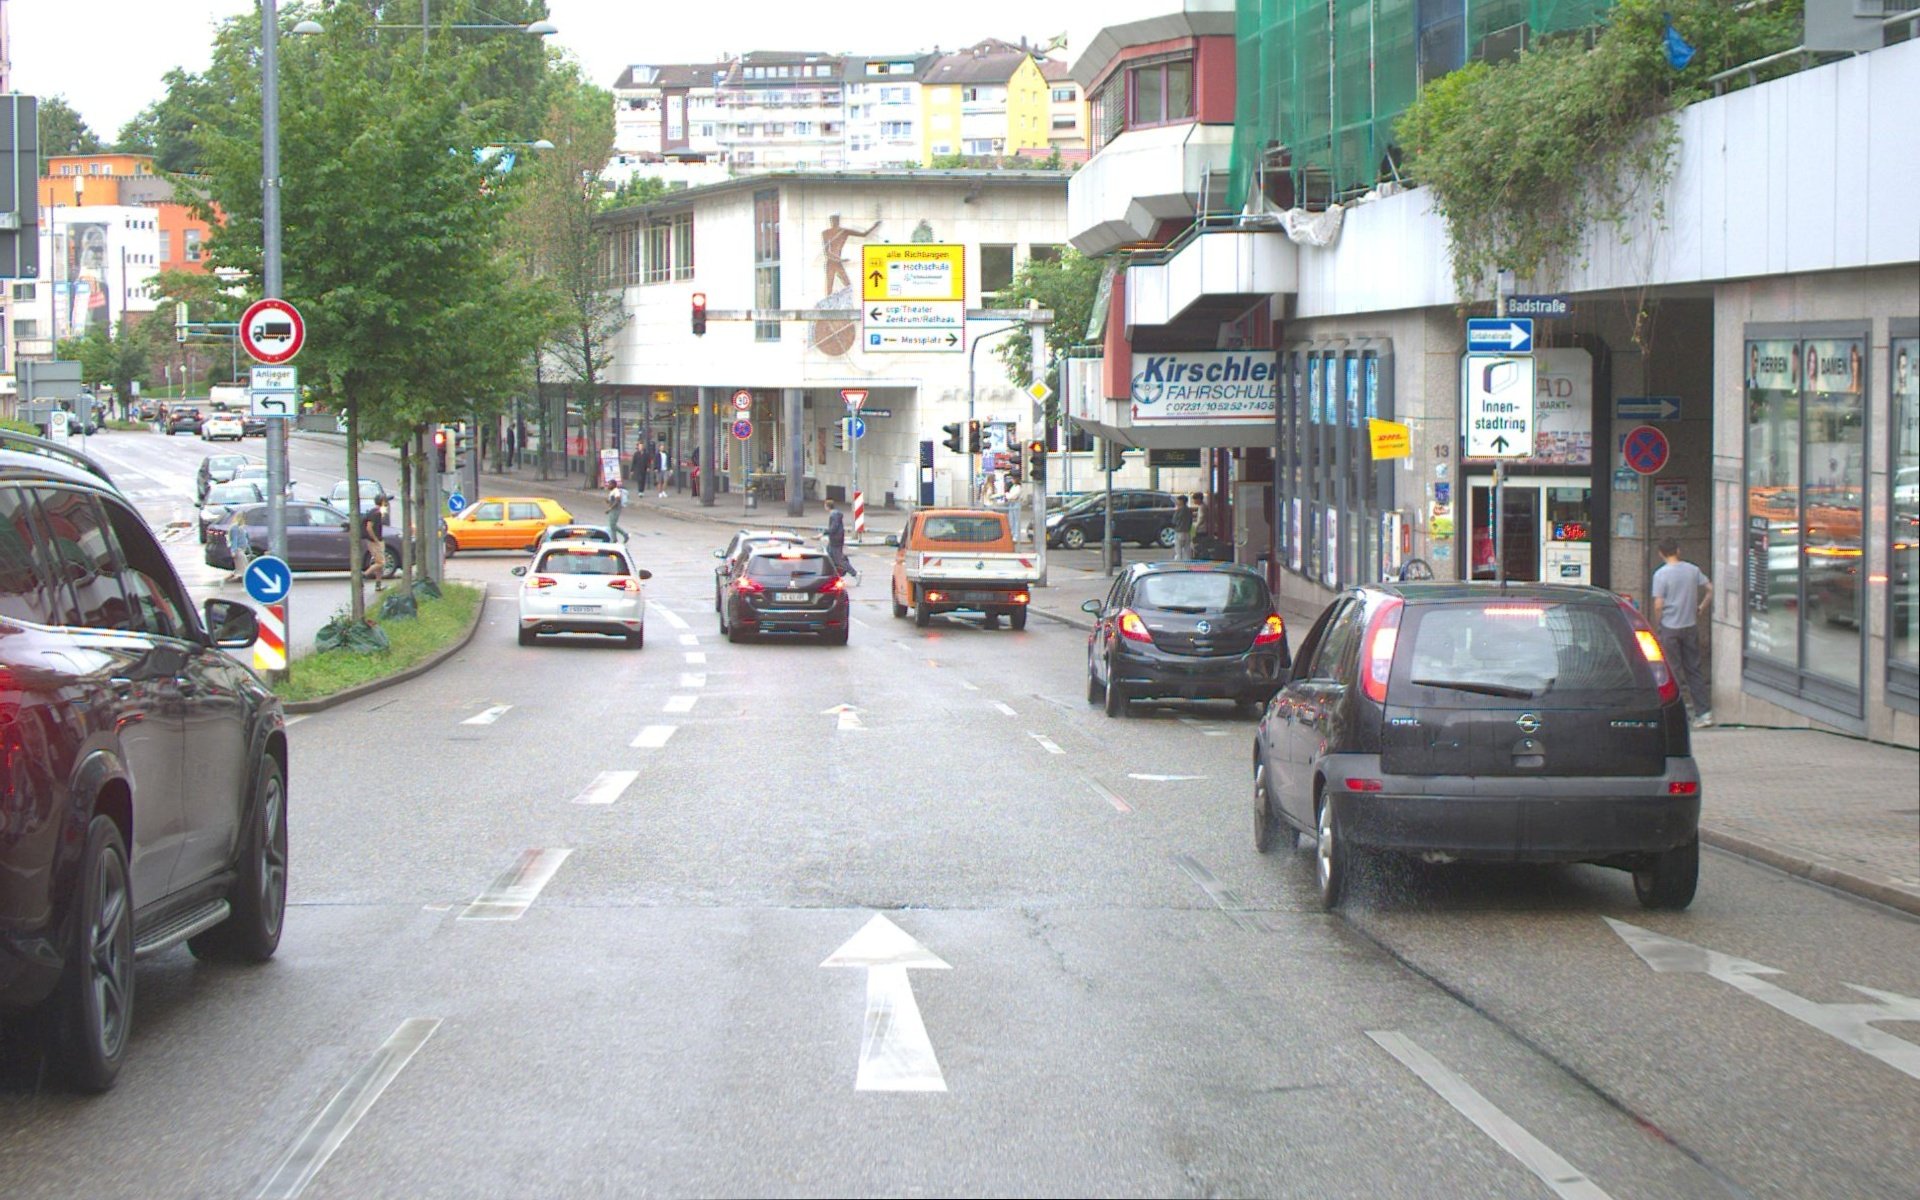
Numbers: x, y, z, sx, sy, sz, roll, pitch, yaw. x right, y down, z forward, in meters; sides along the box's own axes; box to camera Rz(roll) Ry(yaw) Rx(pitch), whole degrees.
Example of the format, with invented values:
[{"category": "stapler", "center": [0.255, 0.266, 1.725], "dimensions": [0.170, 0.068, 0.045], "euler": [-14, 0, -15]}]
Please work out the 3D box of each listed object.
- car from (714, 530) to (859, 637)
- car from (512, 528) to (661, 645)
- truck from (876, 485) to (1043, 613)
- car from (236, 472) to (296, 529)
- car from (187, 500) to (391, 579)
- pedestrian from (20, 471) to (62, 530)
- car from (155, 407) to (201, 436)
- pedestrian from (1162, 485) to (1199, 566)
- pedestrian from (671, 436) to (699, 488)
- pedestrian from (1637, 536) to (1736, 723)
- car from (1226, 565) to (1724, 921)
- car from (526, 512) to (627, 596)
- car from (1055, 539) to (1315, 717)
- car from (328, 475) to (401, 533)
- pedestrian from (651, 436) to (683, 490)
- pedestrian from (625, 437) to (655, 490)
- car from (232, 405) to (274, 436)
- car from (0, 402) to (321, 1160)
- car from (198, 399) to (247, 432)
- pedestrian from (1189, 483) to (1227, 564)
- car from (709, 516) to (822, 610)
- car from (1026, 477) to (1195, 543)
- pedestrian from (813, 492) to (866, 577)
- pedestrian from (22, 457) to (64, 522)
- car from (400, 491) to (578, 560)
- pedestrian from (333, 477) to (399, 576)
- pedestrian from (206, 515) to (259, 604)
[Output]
[{"category": "car", "center": [-2.669, -0.280, 52.032], "dimensions": [1.811, 1.436, 4.001], "euler": [1, 2, -8]}, {"category": "car", "center": [-5.269, -0.226, 48.937], "dimensions": [1.949, 1.568, 4.001], "euler": [0, 2, -4]}, {"category": "truck", "center": [-0.074, -0.901, 58.717], "dimensions": [2.183, 2.075, 5.605], "euler": [0, 2, -7]}, {"category": "car", "center": [-21.419, -3.068, 106.040], "dimensions": [1.705, 1.714, 4.001], "euler": [0, 2, -13]}, {"category": "car", "center": [-14.253, -1.278, 72.961], "dimensions": [4.147, 1.652, 1.842], "euler": [0, 1, -14]}, {"category": "pedestrian", "center": [-25.258, -2.747, 94.511], "dimensions": [0.924, 1.602, 0.563], "euler": [-3, 2, -44]}, {"category": "car", "center": [-44.560, -10.162, 195.775], "dimensions": [1.748, 1.549, 3.570], "euler": [-1, 2, -27]}, {"category": "pedestrian", "center": [4.671, -1.570, 72.812], "dimensions": [0.575, 1.694, 0.651], "euler": [-2, 1, -14]}, {"category": "pedestrian", "center": [-9.555, -4.792, 119.378], "dimensions": [0.702, 1.796, 0.939], "euler": [-2, 1, -18]}, {"category": "pedestrian", "center": [6.510, 0.266, 30.799], "dimensions": [0.642, 1.644, 0.561], "euler": [-1, 1, 38]}, {"category": "car", "center": [2.284, 0.574, 16.153], "dimensions": [1.717, 1.415, 3.770], "euler": [1, 1, -1]}, {"category": "car", "center": [-7.052, -0.864, 63.084], "dimensions": [1.794, 1.463, 4.001], "euler": [0, 2, -7]}, {"category": "car", "center": [2.090, 0.218, 33.090], "dimensions": [1.949, 1.568, 4.001], "euler": [0, 2, -4]}, {"category": "car", "center": [-16.081, -2.593, 92.966], "dimensions": [1.819, 1.544, 4.001], "euler": [0, 2, -8]}, {"category": "pedestrian", "center": [-10.042, -4.688, 117.721], "dimensions": [0.846, 1.796, 1.056], "euler": [-2, 1, -18]}, {"category": "pedestrian", "center": [-11.026, -4.687, 118.417], "dimensions": [0.798, 1.796, 0.918], "euler": [-2, 1, -18]}, {"category": "car", "center": [-39.232, -9.943, 190.687], "dimensions": [1.831, 1.583, 3.875], "euler": [0, 2, -18]}, {"category": "car", "center": [-3.364, 0.339, 10.555], "dimensions": [2.087, 1.811, 4.793], "euler": [2, 1, -3]}, {"category": "car", "center": [-38.667, -9.659, 180.240], "dimensions": [1.993, 1.590, 4.001], "euler": [0, 2, -19]}, {"category": "pedestrian", "center": [5.268, -1.624, 73.145], "dimensions": [0.575, 1.694, 0.651], "euler": [-2, 1, -18]}, {"category": "car", "center": [-3.482, -0.686, 61.019], "dimensions": [1.760, 1.537, 4.001], "euler": [0, 2, -7]}, {"category": "car", "center": [3.737, -2.229, 85.670], "dimensions": [3.815, 1.611, 1.775], "euler": [0, 1, -19]}, {"category": "pedestrian", "center": [-2.485, -1.358, 70.884], "dimensions": [1.010, 1.716, 0.838], "euler": [-1, 2, 1]}, {"category": "pedestrian", "center": [-25.611, -3.087, 95.991], "dimensions": [0.903, 1.796, 0.627], "euler": [-3, 2, -44]}, {"category": "car", "center": [-11.230, -1.779, 81.930], "dimensions": [3.995, 1.611, 1.776], "euler": [0, 1, -15]}, {"category": "pedestrian", "center": [-11.519, -1.433, 66.704], "dimensions": [1.063, 1.875, 0.838], "euler": [-1, 2, 3]}, {"category": "pedestrian", "center": [-14.381, -0.801, 67.954], "dimensions": [0.835, 1.716, 0.819], "euler": [-1, 2, 0]}]
